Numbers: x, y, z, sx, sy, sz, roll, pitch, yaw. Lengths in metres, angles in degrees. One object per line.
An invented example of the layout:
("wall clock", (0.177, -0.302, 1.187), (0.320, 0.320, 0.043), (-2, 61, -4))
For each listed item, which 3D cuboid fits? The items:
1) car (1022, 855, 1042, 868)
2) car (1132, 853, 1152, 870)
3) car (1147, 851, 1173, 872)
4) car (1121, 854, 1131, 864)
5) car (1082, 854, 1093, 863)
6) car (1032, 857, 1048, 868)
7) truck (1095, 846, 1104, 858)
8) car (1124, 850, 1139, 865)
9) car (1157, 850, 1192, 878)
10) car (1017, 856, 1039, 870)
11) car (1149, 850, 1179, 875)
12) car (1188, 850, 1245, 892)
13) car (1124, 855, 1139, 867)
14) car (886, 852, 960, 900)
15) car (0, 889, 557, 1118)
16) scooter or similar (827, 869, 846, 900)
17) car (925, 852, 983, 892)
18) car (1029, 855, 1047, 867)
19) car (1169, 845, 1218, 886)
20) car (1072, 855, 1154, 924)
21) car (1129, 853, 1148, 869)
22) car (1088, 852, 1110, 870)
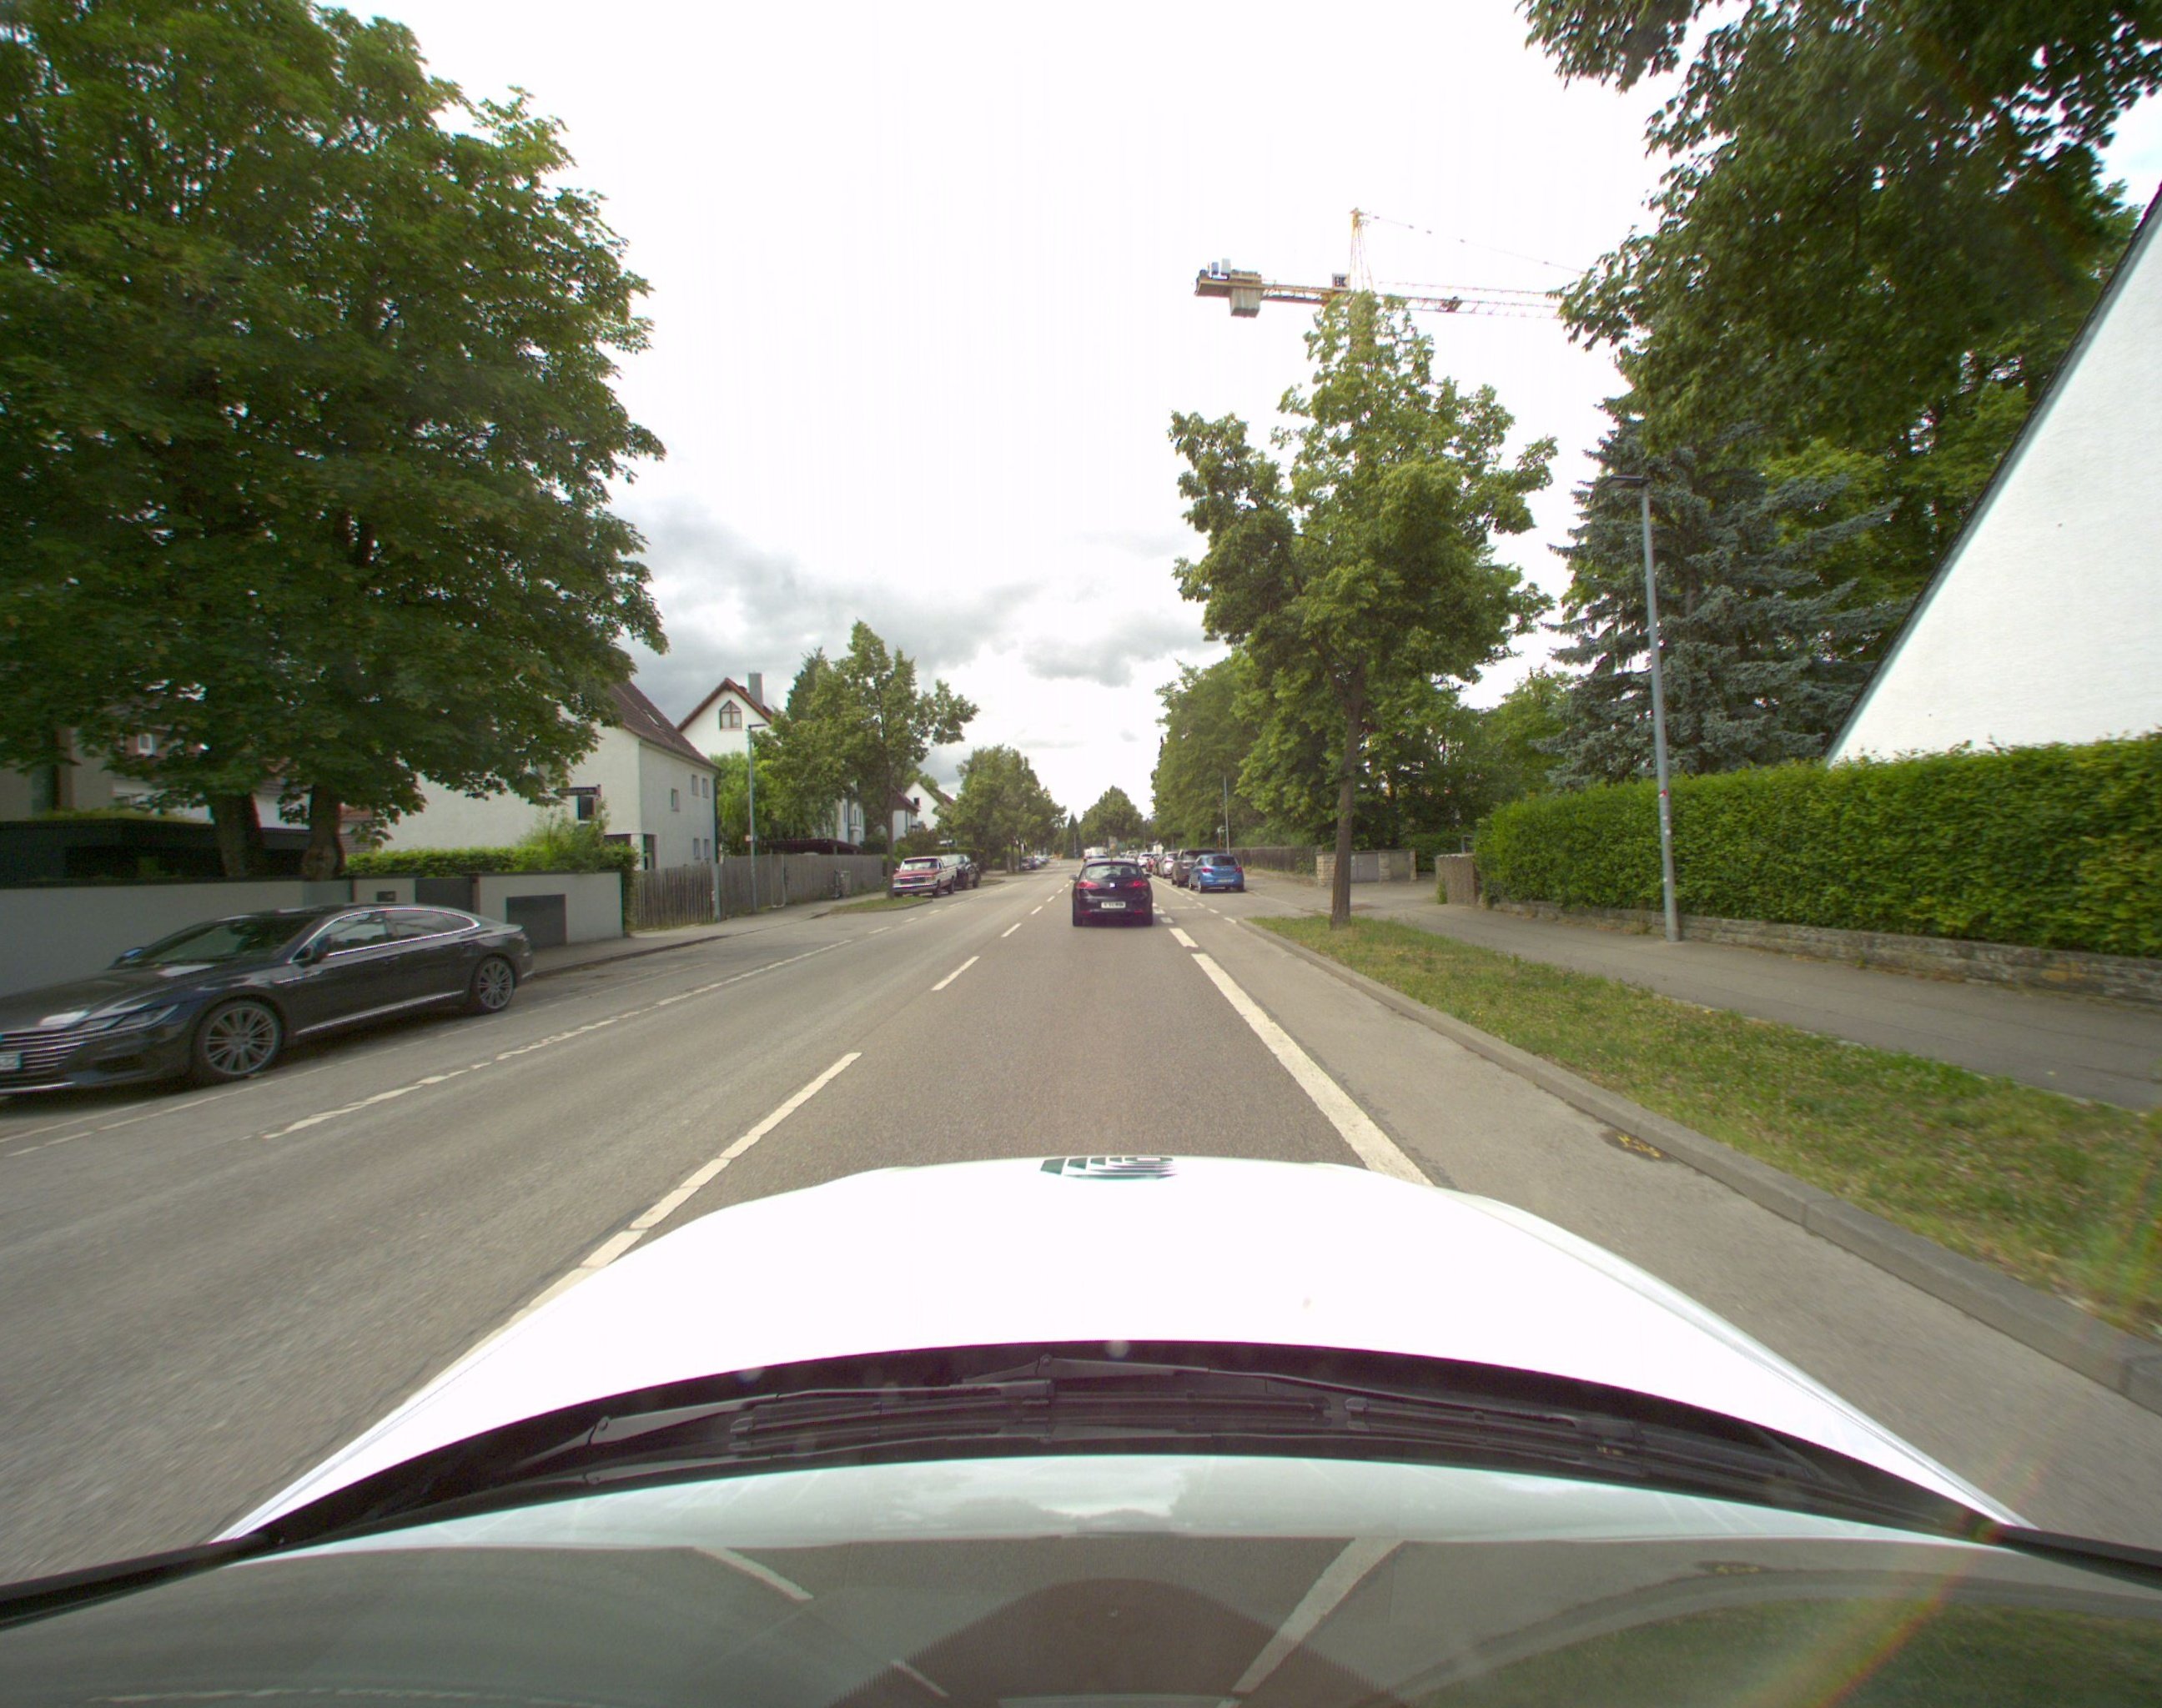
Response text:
("car", (-6.473, 0.944, 107.330), (2.093, 1.506, 5.784), (-4, 0, 1))
("car", (5.963, 0.689, 80.146), (1.682, 1.564, 4.214), (-2, 0, 1))
("car", (6.220, 0.565, 64.319), (1.682, 1.564, 4.214), (-2, 0, 1))
("car", (8.155, 0.904, 147.727), (1.682, 1.875, 4.214), (-2, 0, 1))
("car", (1.196, 0.816, 152.339), (1.875, 1.689, 4.214), (-2, 0, 1))
("car", (-6.410, 1.309, 127.144), (2.093, 1.506, 5.784), (-4, 0, 1))
("truck", (4.837, -0.415, 213.961), (2.271, 3.104, 8.509), (0, -1, 0))
("car", (6.906, 0.447, 111.498), (1.682, 1.875, 4.214), (-2, 0, 1))
("car", (5.647, 0.601, 49.529), (1.682, 1.564, 4.214), (-2, 0, 1))
("car", (-6.109, 1.030, 94.612), (2.093, 1.506, 5.784), (-4, 0, 1))
("car", (5.692, 0.570, 56.098), (1.682, 1.564, 4.214), (-2, 0, 1))
("car", (5.234, 0.640, 31.862), (1.682, 1.490, 3.355), (-2, 0, 1))
("car", (6.481, 0.878, 104.497), (1.682, 1.564, 4.214), (-2, 0, 1))
("car", (-7.099, 0.937, 37.279), (2.093, 1.896, 5.784), (-4, 0, 1))
("car", (-7.821, 1.214, 8.295), (1.712, 1.395, 4.801), (-4, 0, 1))
("scooter or similar", (-10.174, 1.250, 33.961), (0.386, 1.230, 1.497), (-2, 0, -3))
("car", (-6.884, 0.936, 44.834), (2.093, 1.896, 5.784), (-4, 0, 1))
("car", (-6.106, 0.959, 117.306), (2.093, 1.506, 5.784), (-4, 0, 1))
("car", (5.044, 0.508, 36.977), (1.682, 1.711, 4.214), (-2, 0, 1))
("car", (0.645, 0.742, 18.614), (1.658, 1.401, 3.810), (0, 0, -1))
("car", (6.054, 0.730, 85.874), (1.682, 1.564, 4.214), (-2, 0, 1))
("car", (1.575, 0.603, 70.295), (1.839, 1.510, 3.813), (0, 0, 1))
